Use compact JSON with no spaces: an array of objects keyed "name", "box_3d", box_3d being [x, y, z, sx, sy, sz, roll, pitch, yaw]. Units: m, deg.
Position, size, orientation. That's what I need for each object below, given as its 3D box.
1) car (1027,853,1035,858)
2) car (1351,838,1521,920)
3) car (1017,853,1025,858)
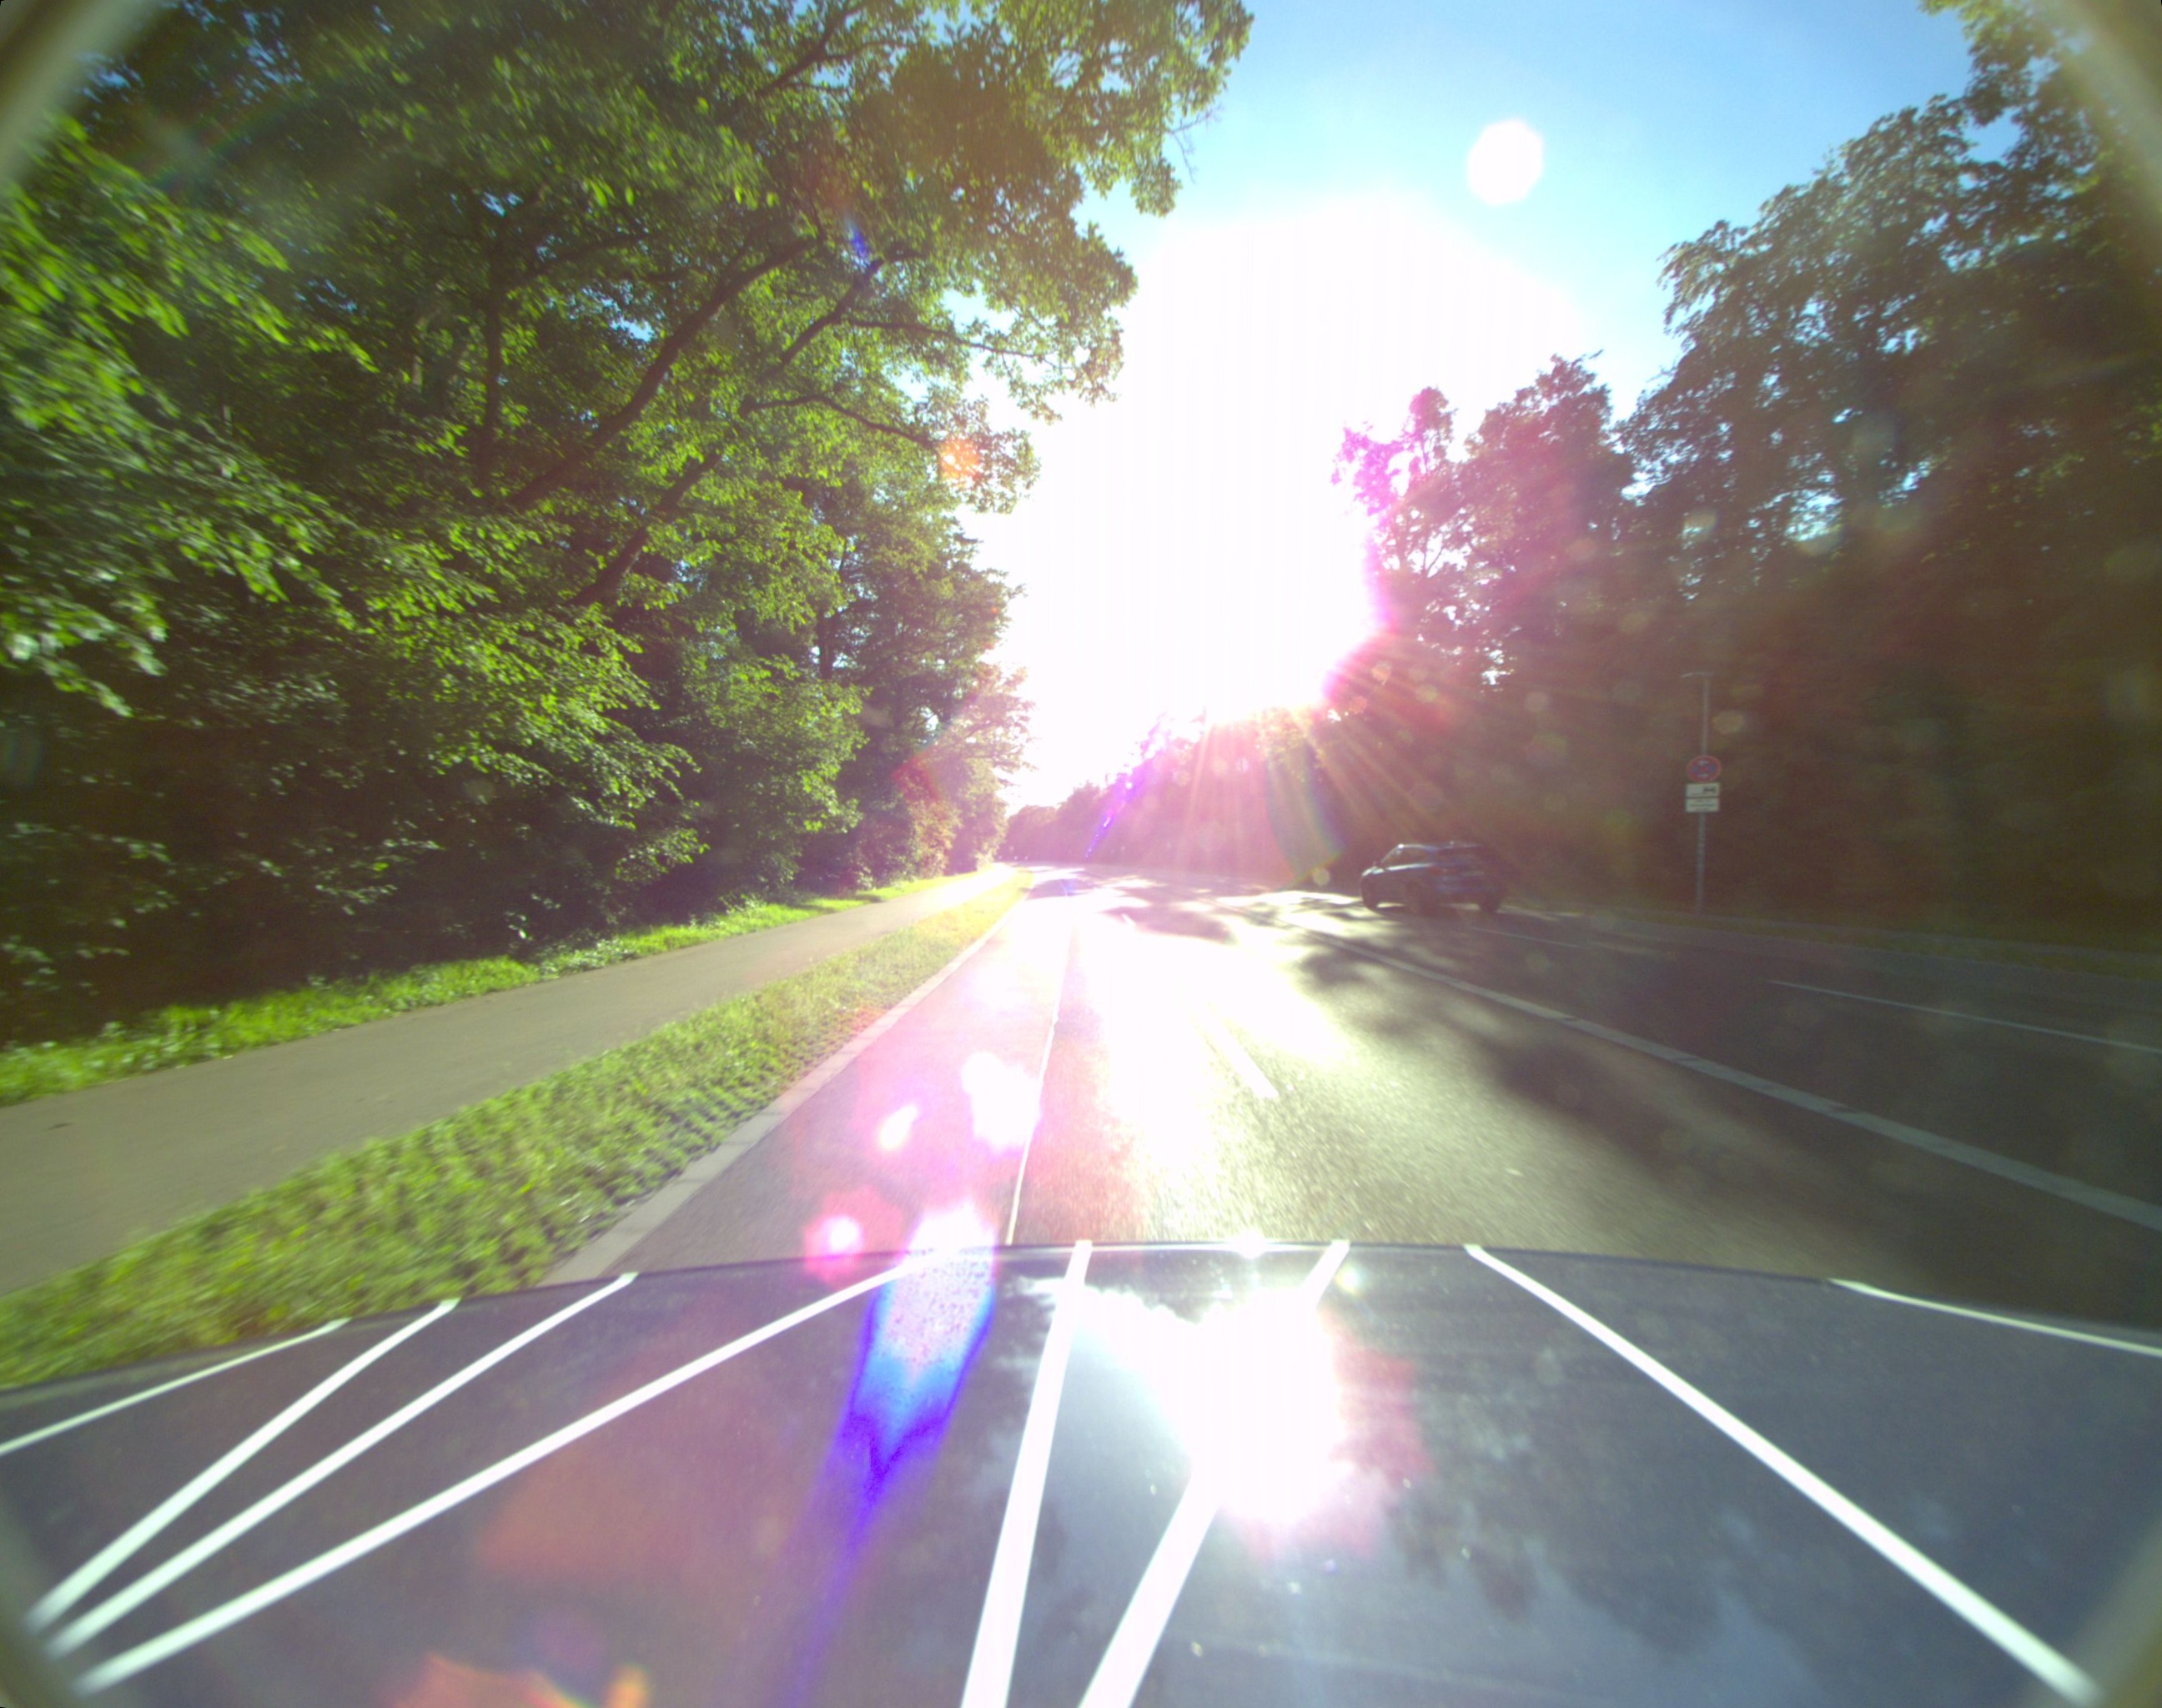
[{"name":"car","box_3d":[-15.520,0.556,236.019,1.663,1.472,4.167,-2,0,-15]},{"name":"car","box_3d":[8.176,0.509,18.014,1.812,1.653,4.521,-1,0,-1]},{"name":"car","box_3d":[-20.085,0.489,255.573,1.745,1.449,3.993,-3,1,-17]}]
